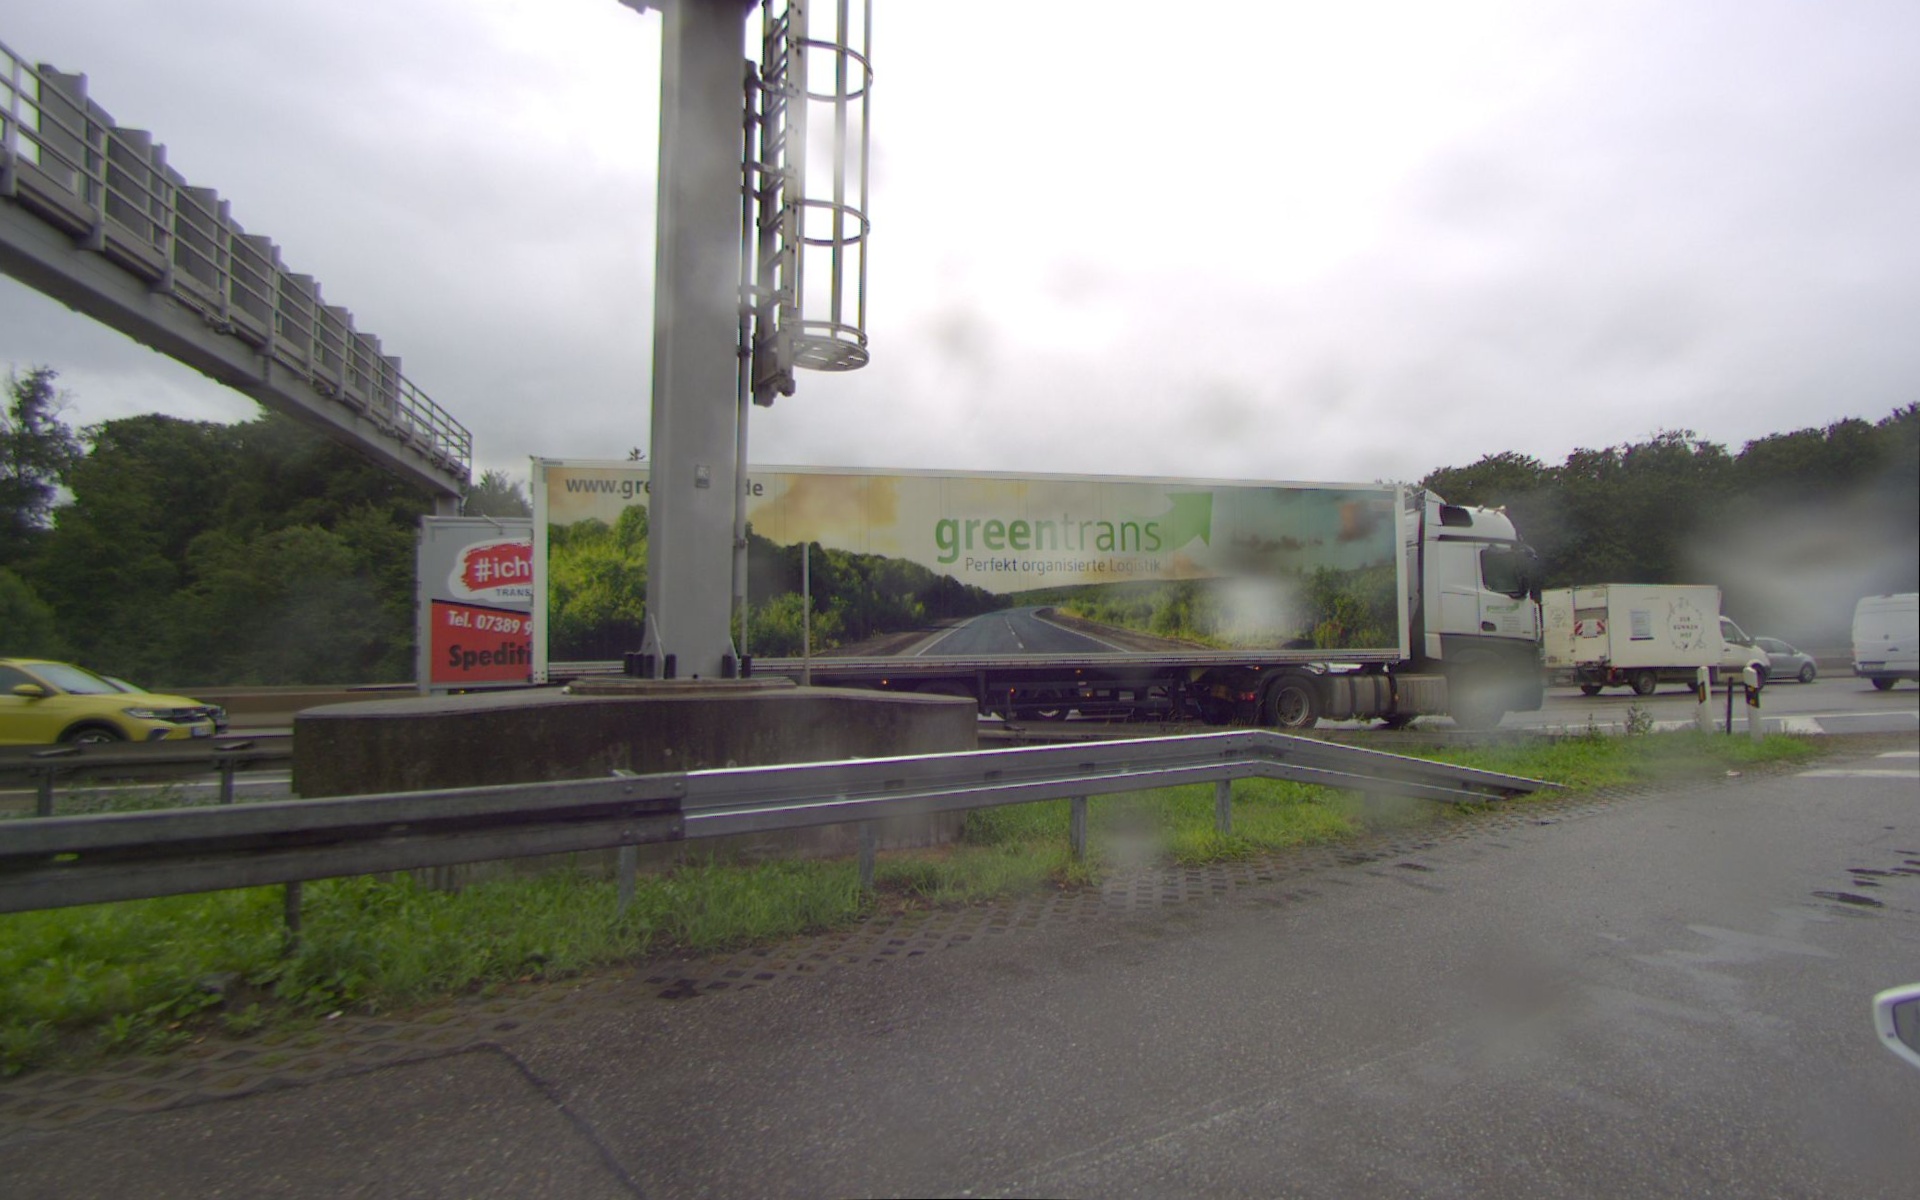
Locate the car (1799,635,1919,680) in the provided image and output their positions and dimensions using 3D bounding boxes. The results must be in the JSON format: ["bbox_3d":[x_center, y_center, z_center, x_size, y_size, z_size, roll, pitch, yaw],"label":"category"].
[{"bbox_3d":[35.927,2.282,40.103,3.933,1.728,1.777,0,-3,-15],"label":"car"}]

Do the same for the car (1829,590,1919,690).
[{"bbox_3d":[28.156,1.131,28.653,5.747,2.664,2.216,0,-3,-16],"label":"car"}]

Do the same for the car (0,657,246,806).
[{"bbox_3d":[-12.327,1.697,13.378,4.169,1.817,1.794,0,-2,-16],"label":"car"}]

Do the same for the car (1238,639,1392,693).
[{"bbox_3d":[10.965,2.003,31.059,4.341,1.542,1.616,0,-3,-15],"label":"car"}]

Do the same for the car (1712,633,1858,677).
[{"bbox_3d":[30.413,2.013,37.044,4.553,1.542,1.867,0,-3,-16],"label":"car"}]

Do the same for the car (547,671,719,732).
[{"bbox_3d":[-8.466,2.611,26.339,4.157,1.428,1.806,0,-3,-15],"label":"car"}]

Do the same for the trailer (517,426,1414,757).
[{"bbox_3d":[0.472,-0.022,16.017,13.405,4.260,2.920,0,-3,-15],"label":"trailer"}]

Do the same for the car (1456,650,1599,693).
[{"bbox_3d":[20.947,2.606,37.114,4.753,1.443,1.745,0,-3,-15],"label":"car"}]

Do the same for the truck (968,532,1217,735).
[{"bbox_3d":[2.716,0.699,21.261,4.513,3.914,2.628,0,-3,-16],"label":"truck"}]

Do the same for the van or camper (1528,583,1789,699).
[{"bbox_3d":[21.050,1.218,30.332,7.014,3.245,2.580,0,-3,-16],"label":"van or camper"}]

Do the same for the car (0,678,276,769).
[{"bbox_3d":[-16.407,2.370,19.705,4.462,1.550,1.995,0,-3,-14],"label":"car"}]

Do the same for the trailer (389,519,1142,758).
[{"bbox_3d":[-3.207,0.668,19.561,13.451,3.914,2.628,0,-3,-16],"label":"trailer"}]

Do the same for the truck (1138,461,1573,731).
[{"bbox_3d":[6.818,0.016,17.689,6.605,4.152,2.921,0,-3,-14],"label":"truck"}]

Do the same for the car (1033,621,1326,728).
[{"bbox_3d":[5.688,1.868,26.136,7.242,2.520,2.149,0,-3,-15],"label":"car"}]
